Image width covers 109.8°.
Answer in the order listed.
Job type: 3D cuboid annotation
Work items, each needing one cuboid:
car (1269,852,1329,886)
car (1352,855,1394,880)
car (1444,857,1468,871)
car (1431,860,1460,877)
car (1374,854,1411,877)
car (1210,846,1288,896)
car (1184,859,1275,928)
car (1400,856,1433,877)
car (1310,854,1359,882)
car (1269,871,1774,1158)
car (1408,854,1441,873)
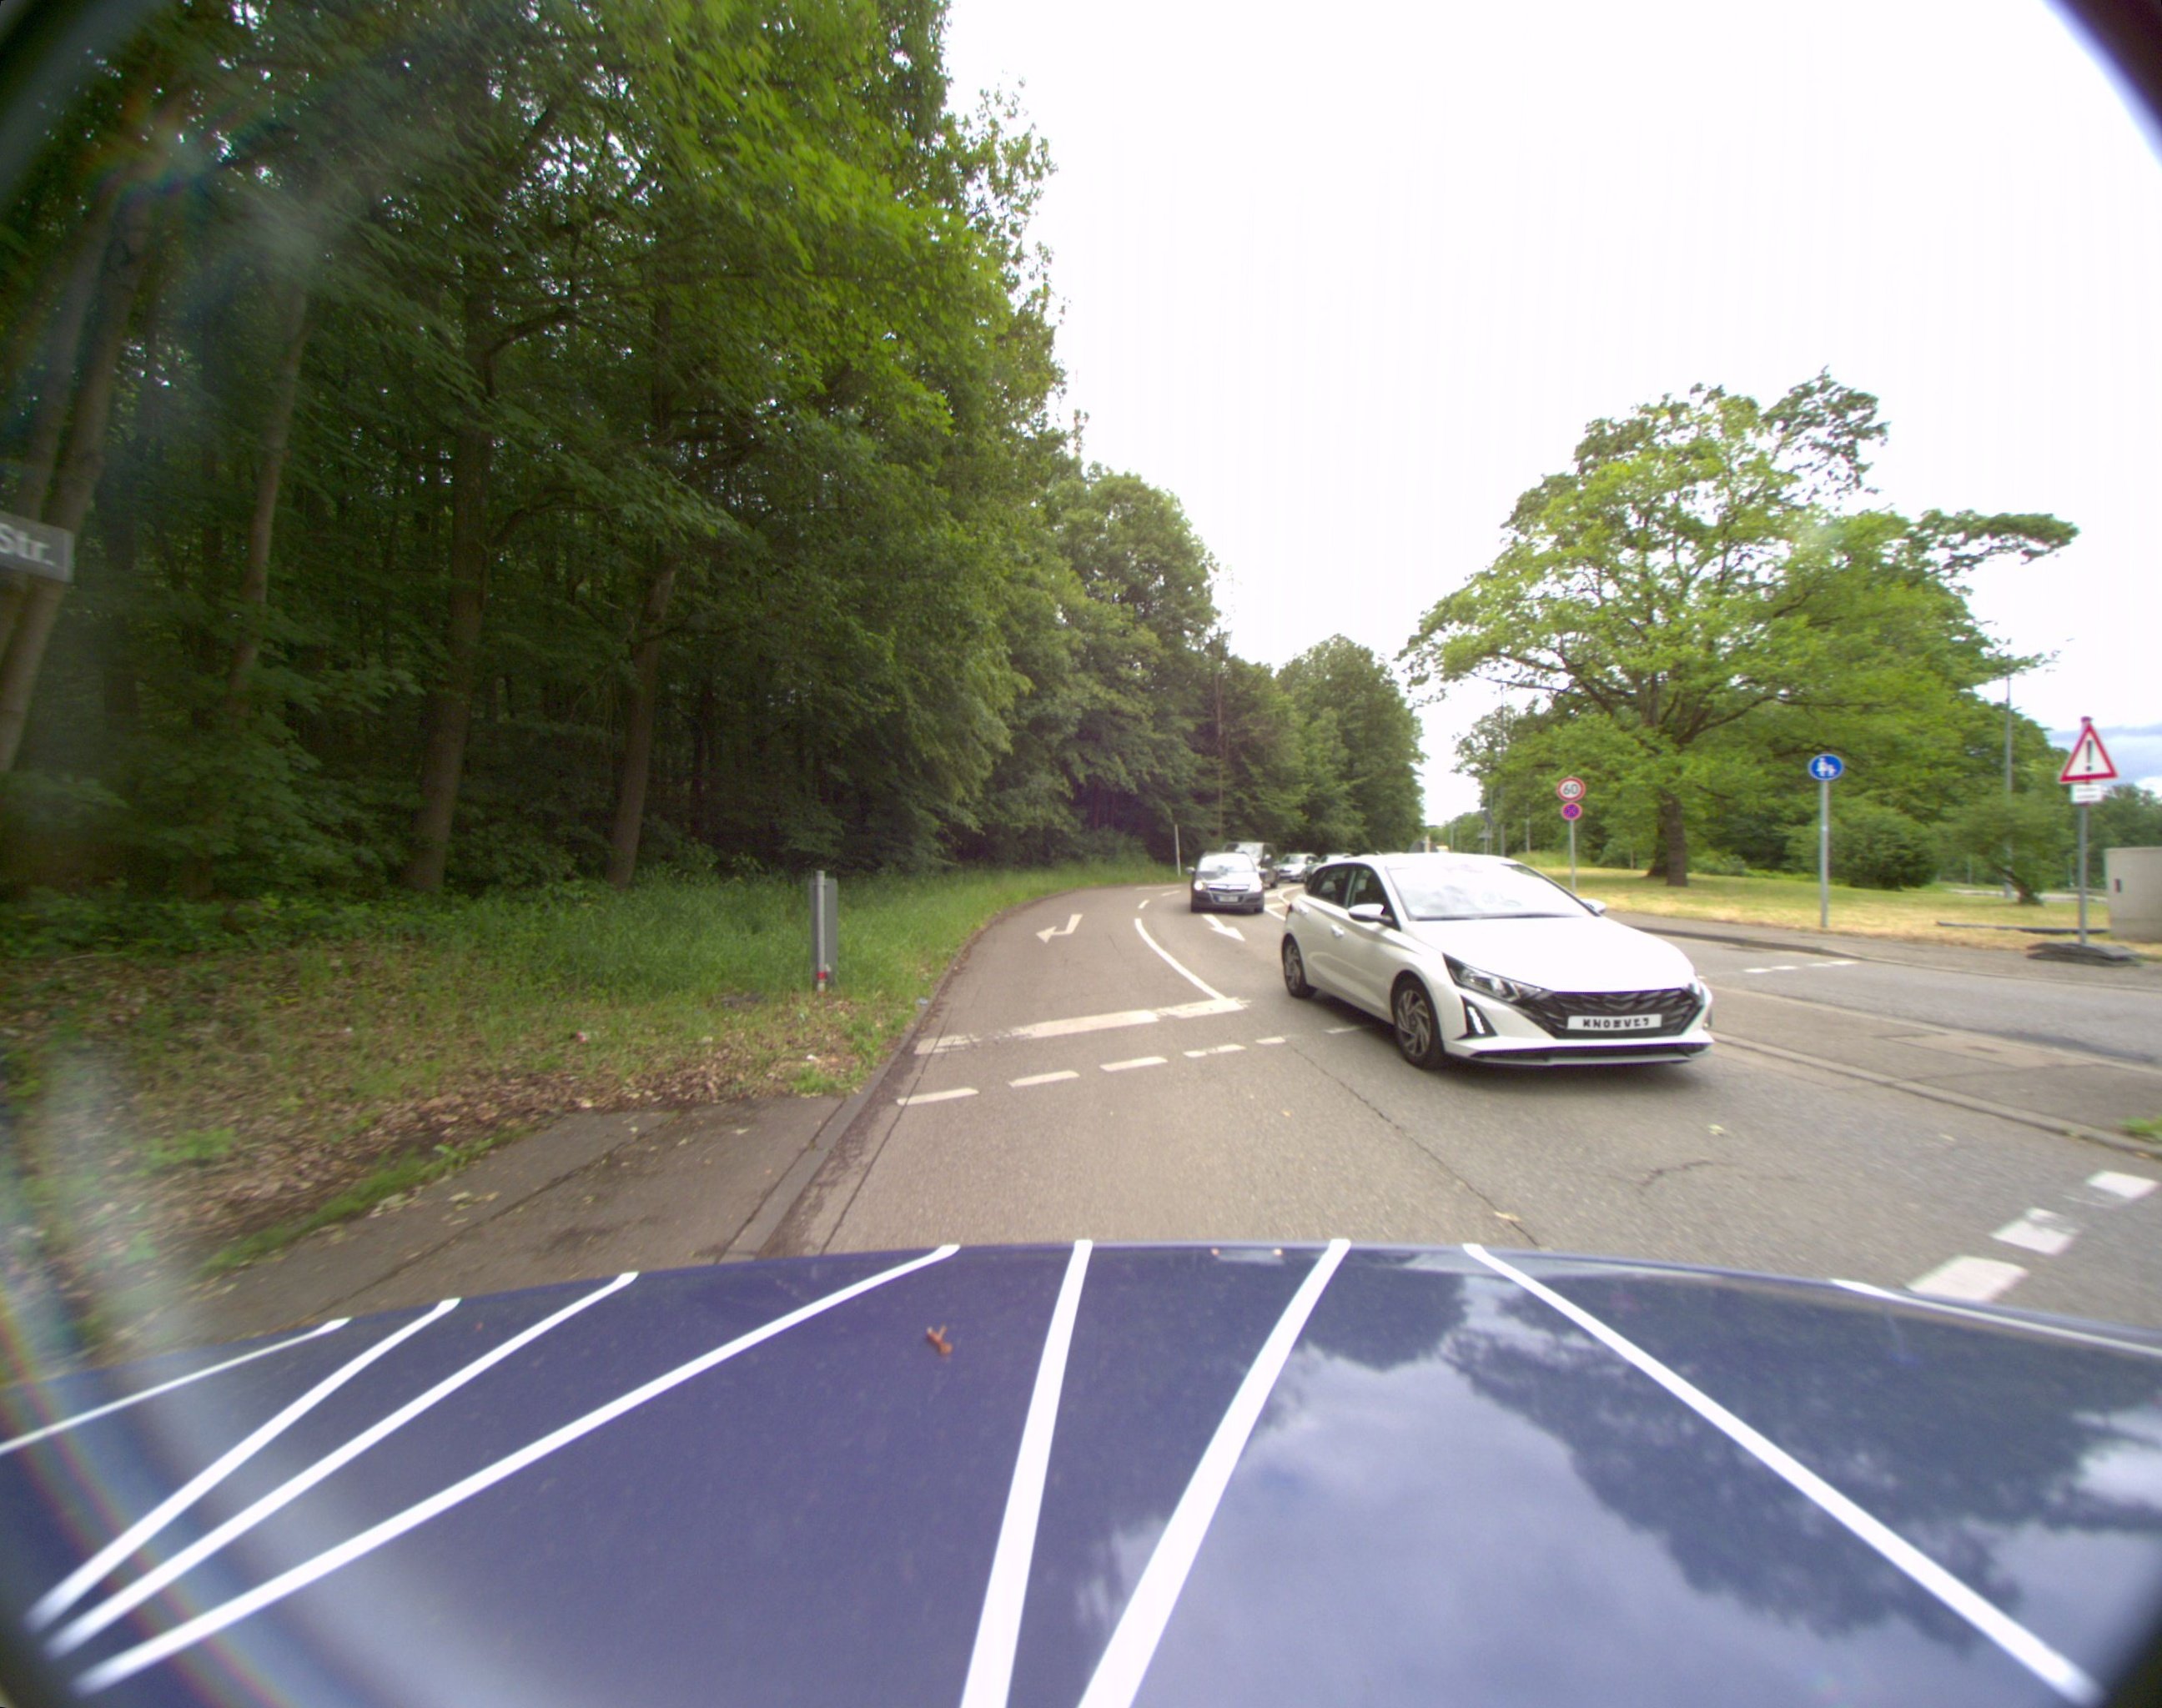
[{"bbox_3d":[11.255,0.731,39.124,1.789,1.664,3.999,0,0,35],"label":"car"},{"bbox_3d":[18.243,0.812,47.334,1.774,1.491,3.881,1,0,31],"label":"car"},{"bbox_3d":[40.699,1.048,82.390,1.774,1.491,3.881,1,0,34],"label":"car"},{"bbox_3d":[32.967,1.268,68.663,1.774,1.491,3.881,1,0,34],"label":"car"},{"bbox_3d":[21.655,0.780,52.748,1.774,1.491,3.881,1,0,31],"label":"car"},{"bbox_3d":[6.850,0.633,30.595,1.986,1.862,4.540,1,0,27],"label":"car"},{"bbox_3d":[3.866,0.887,19.227,1.800,1.471,4.476,1,0,17],"label":"car"},{"bbox_3d":[25.290,0.925,57.158,1.774,1.491,3.881,1,0,31],"label":"car"},{"bbox_3d":[14.519,0.745,43.406,1.774,1.491,3.881,1,0,31],"label":"car"},{"bbox_3d":[2.951,0.941,6.241,1.654,1.471,4.072,1,0,-2],"label":"car"},{"bbox_3d":[28.203,0.771,62.286,1.774,1.491,3.881,1,0,34],"label":"car"}]
